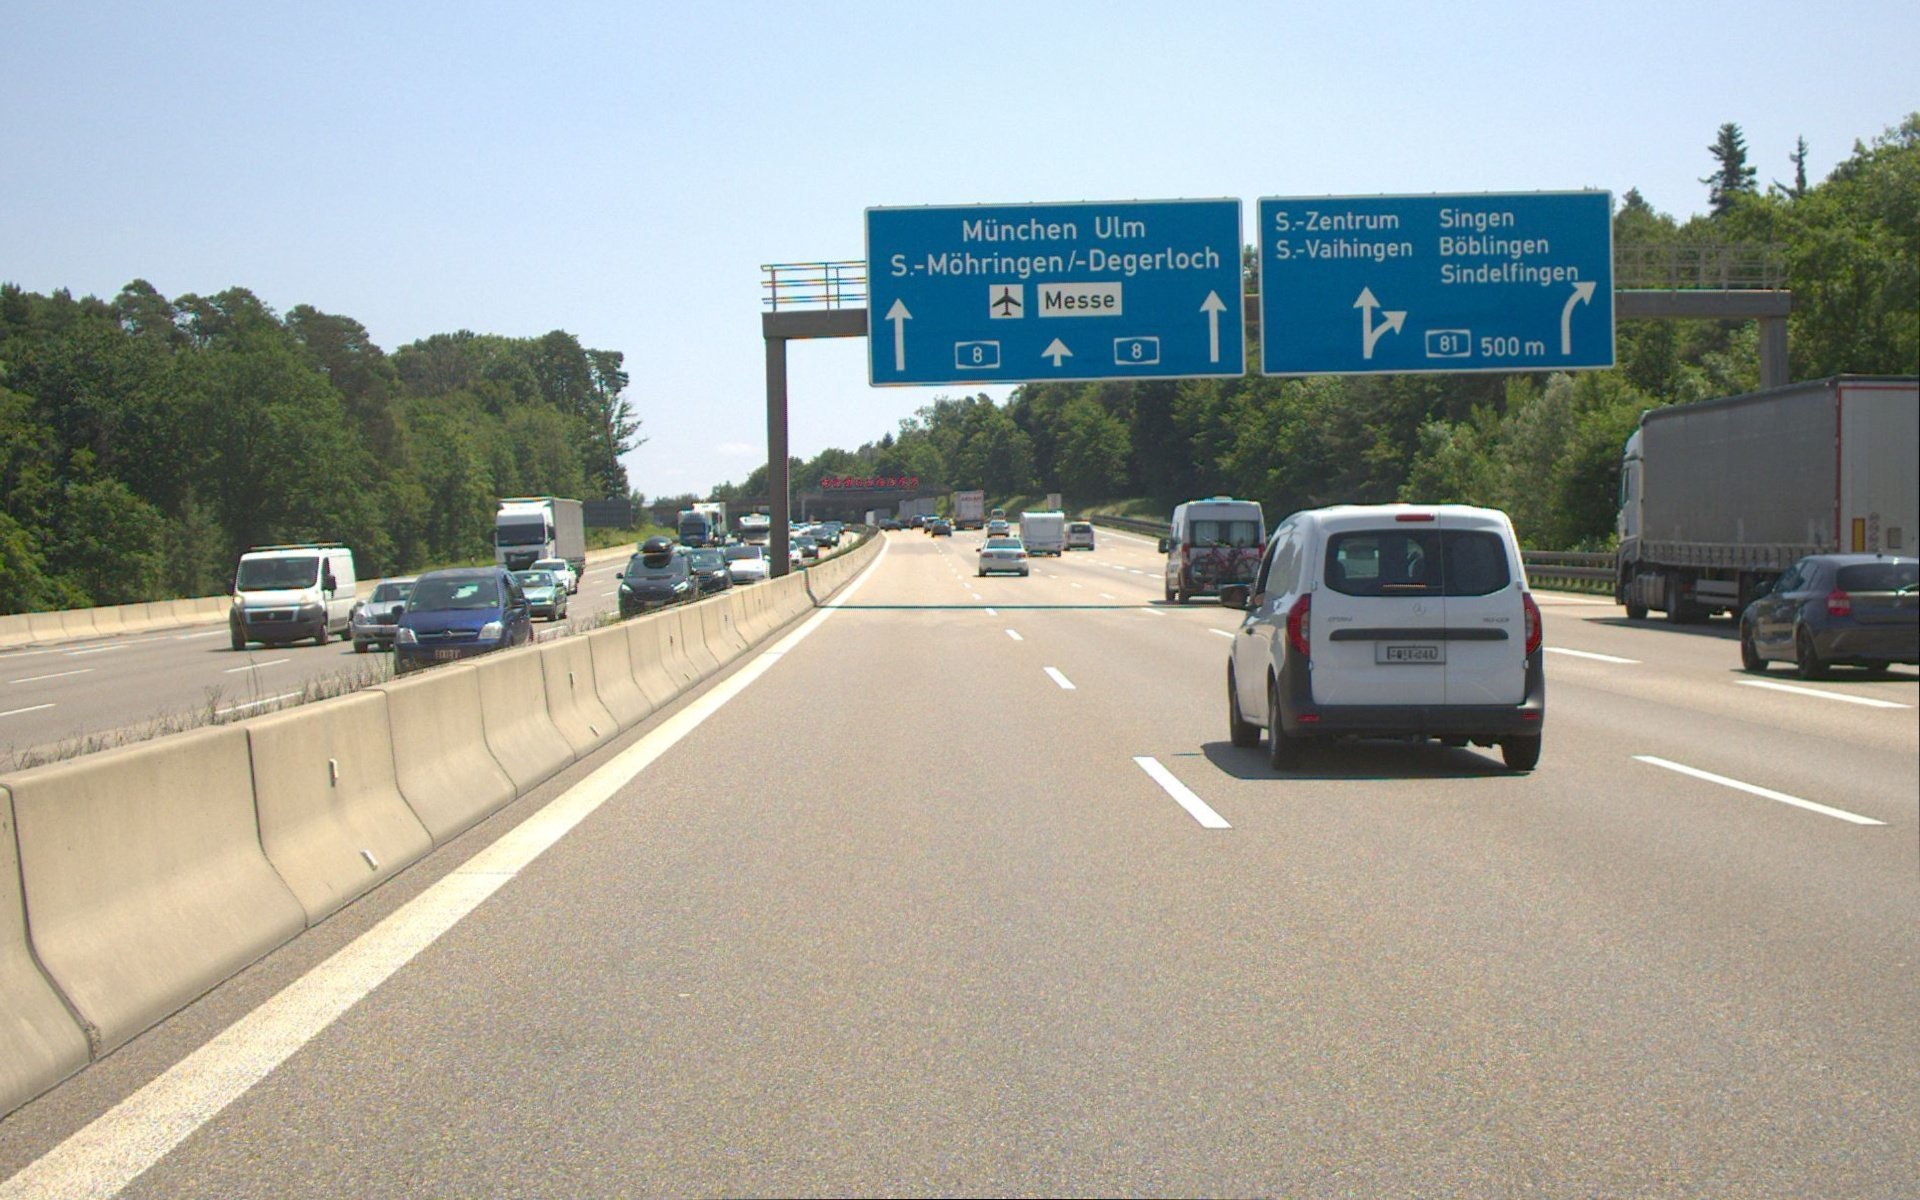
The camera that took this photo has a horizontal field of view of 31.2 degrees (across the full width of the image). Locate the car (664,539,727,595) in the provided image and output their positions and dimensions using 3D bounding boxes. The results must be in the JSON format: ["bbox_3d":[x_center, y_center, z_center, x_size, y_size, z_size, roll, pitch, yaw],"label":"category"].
[{"bbox_3d":[-8.377,-1.062,109.144,1.754,1.667,4.204,-2,1,-2],"label":"car"}]

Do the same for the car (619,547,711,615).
[{"bbox_3d":[-7.558,-0.519,88.516,1.870,1.600,5.228,-2,1,0],"label":"car"}]

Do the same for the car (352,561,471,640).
[{"bbox_3d":[-11.118,-0.009,69.907,1.678,1.439,4.526,-3,1,-1],"label":"car"}]

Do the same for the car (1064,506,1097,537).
[{"bbox_3d":[7.617,-4.981,217.571,1.820,1.853,4.000,-2,1,-1],"label":"car"}]

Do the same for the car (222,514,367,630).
[{"bbox_3d":[-14.976,-0.623,77.733,1.930,2.405,6.626,-4,0,-1],"label":"car"}]

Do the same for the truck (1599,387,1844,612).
[{"bbox_3d":[14.387,-1.900,65.452,3.254,4.092,5.988,0,1,-1],"label":"truck"}]

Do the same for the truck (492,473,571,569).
[{"bbox_3d":[-19.757,-3.606,158.749,2.760,4.205,6.378,-2,0,-1],"label":"truck"}]

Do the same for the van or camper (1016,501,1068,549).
[{"bbox_3d":[4.632,-4.228,195.017,2.645,2.530,6.502,-2,1,-1],"label":"van or camper"}]

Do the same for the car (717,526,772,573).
[{"bbox_3d":[-8.182,-1.933,130.744,1.812,1.667,4.476,-2,1,0],"label":"car"}]

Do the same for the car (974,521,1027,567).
[{"bbox_3d":[1.534,-2.133,131.831,1.843,1.623,4.553,-2,0,-1],"label":"car"}]

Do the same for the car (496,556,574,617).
[{"bbox_3d":[-11.159,-0.367,90.449,1.549,1.450,3.840,-3,1,0],"label":"car"}]

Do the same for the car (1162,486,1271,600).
[{"bbox_3d":[6.256,-1.404,84.521,2.143,2.643,5.710,-2,1,0],"label":"car"}]

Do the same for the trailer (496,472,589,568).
[{"bbox_3d":[-19.793,-3.725,163.787,2.754,4.231,13.719,-2,0,-1],"label":"trailer"}]

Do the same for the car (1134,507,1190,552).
[{"bbox_3d":[7.735,-2.674,131.753,1.818,1.634,4.000,-2,1,0],"label":"car"}]

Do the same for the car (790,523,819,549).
[{"bbox_3d":[-9.711,-3.991,214.183,1.723,1.532,5.056,-2,1,-3],"label":"car"}]

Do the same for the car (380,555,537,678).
[{"bbox_3d":[-7.202,0.203,49.674,1.705,1.656,3.760,-1,1,0],"label":"car"}]

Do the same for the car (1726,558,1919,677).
[{"bbox_3d":[10.115,0.213,39.374,1.670,1.269,4.290,1,-1,-1],"label":"car"}]

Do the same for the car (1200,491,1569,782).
[{"bbox_3d":[2.923,0.218,24.652,1.859,1.819,4.612,-2,1,-2],"label":"car"}]

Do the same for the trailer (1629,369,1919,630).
[{"bbox_3d":[14.568,-1.679,58.690,3.287,3.917,13.892,0,1,-1],"label":"trailer"}]
